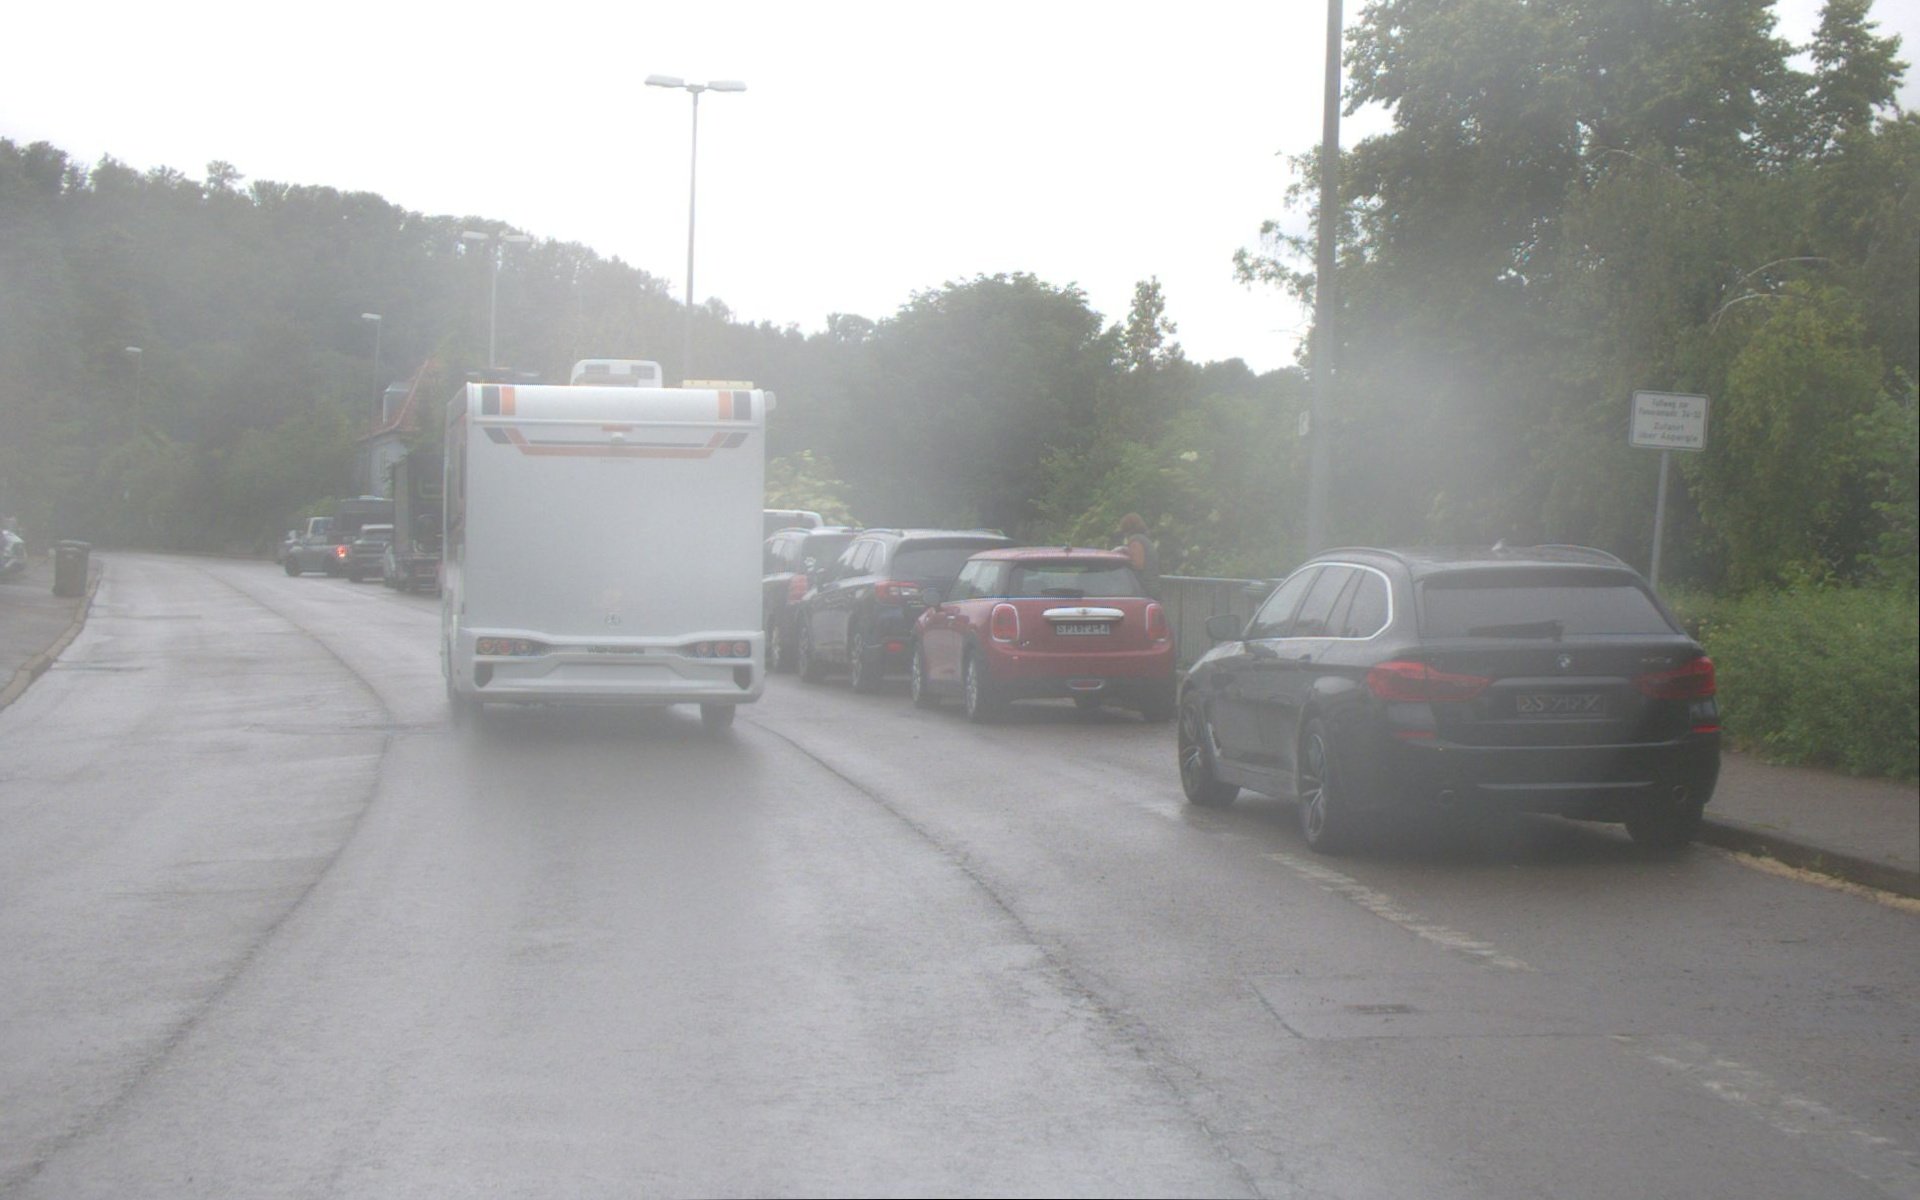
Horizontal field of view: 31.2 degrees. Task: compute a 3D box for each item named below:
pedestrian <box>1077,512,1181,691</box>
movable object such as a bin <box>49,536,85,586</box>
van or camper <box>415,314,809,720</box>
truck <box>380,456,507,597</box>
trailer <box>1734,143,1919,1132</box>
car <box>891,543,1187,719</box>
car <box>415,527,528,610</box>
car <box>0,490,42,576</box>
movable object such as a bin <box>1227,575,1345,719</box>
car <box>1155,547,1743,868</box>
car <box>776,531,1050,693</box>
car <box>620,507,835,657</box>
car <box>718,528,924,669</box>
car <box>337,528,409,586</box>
[{"bbox_3d":[1.563,0.008,31.778,0.718,1.629,0.706,1,1,26],"label":"pedestrian"},{"bbox_3d":[-17.125,-0.749,65.956,0.602,0.925,0.564,3,0,-18],"label":"movable object such as a bin"},{"bbox_3d":[-2.990,-0.558,28.003,2.615,2.843,6.032,3,-1,-10],"label":"van or camper"},{"bbox_3d":[-12.932,-1.777,85.652,2.435,3.324,7.967,0,1,-14],"label":"truck"},{"bbox_3d":[3.401,0.108,7.503,1.948,2.448,5.435,1,1,-3],"label":"trailer"},{"bbox_3d":[0.603,0.232,29.537,1.735,1.409,3.853,0,1,-11],"label":"car"},{"bbox_3d":[-9.853,-0.632,69.144,1.759,1.599,4.668,0,1,-14],"label":"car"},{"bbox_3d":[-24.113,-1.570,79.615,5.085,1.938,2.141,1,1,3],"label":"car"},{"bbox_3d":[2.555,0.362,27.013,0.713,1.090,0.849,1,1,-9],"label":"movable object such as a bin"},{"bbox_3d":[2.374,0.457,18.042,1.792,1.454,4.790,0,1,-8],"label":"car"},{"bbox_3d":[-0.559,0.093,34.493,1.815,1.501,4.725,0,1,-12],"label":"car"},{"bbox_3d":[-3.159,-0.256,45.722,1.848,1.875,4.912,0,1,-16],"label":"car"},{"bbox_3d":[-1.676,-0.038,40.022,1.644,1.535,4.355,0,1,-12],"label":"car"},{"bbox_3d":[-17.302,-1.272,101.208,1.936,1.666,4.696,0,1,-12],"label":"car"}]
